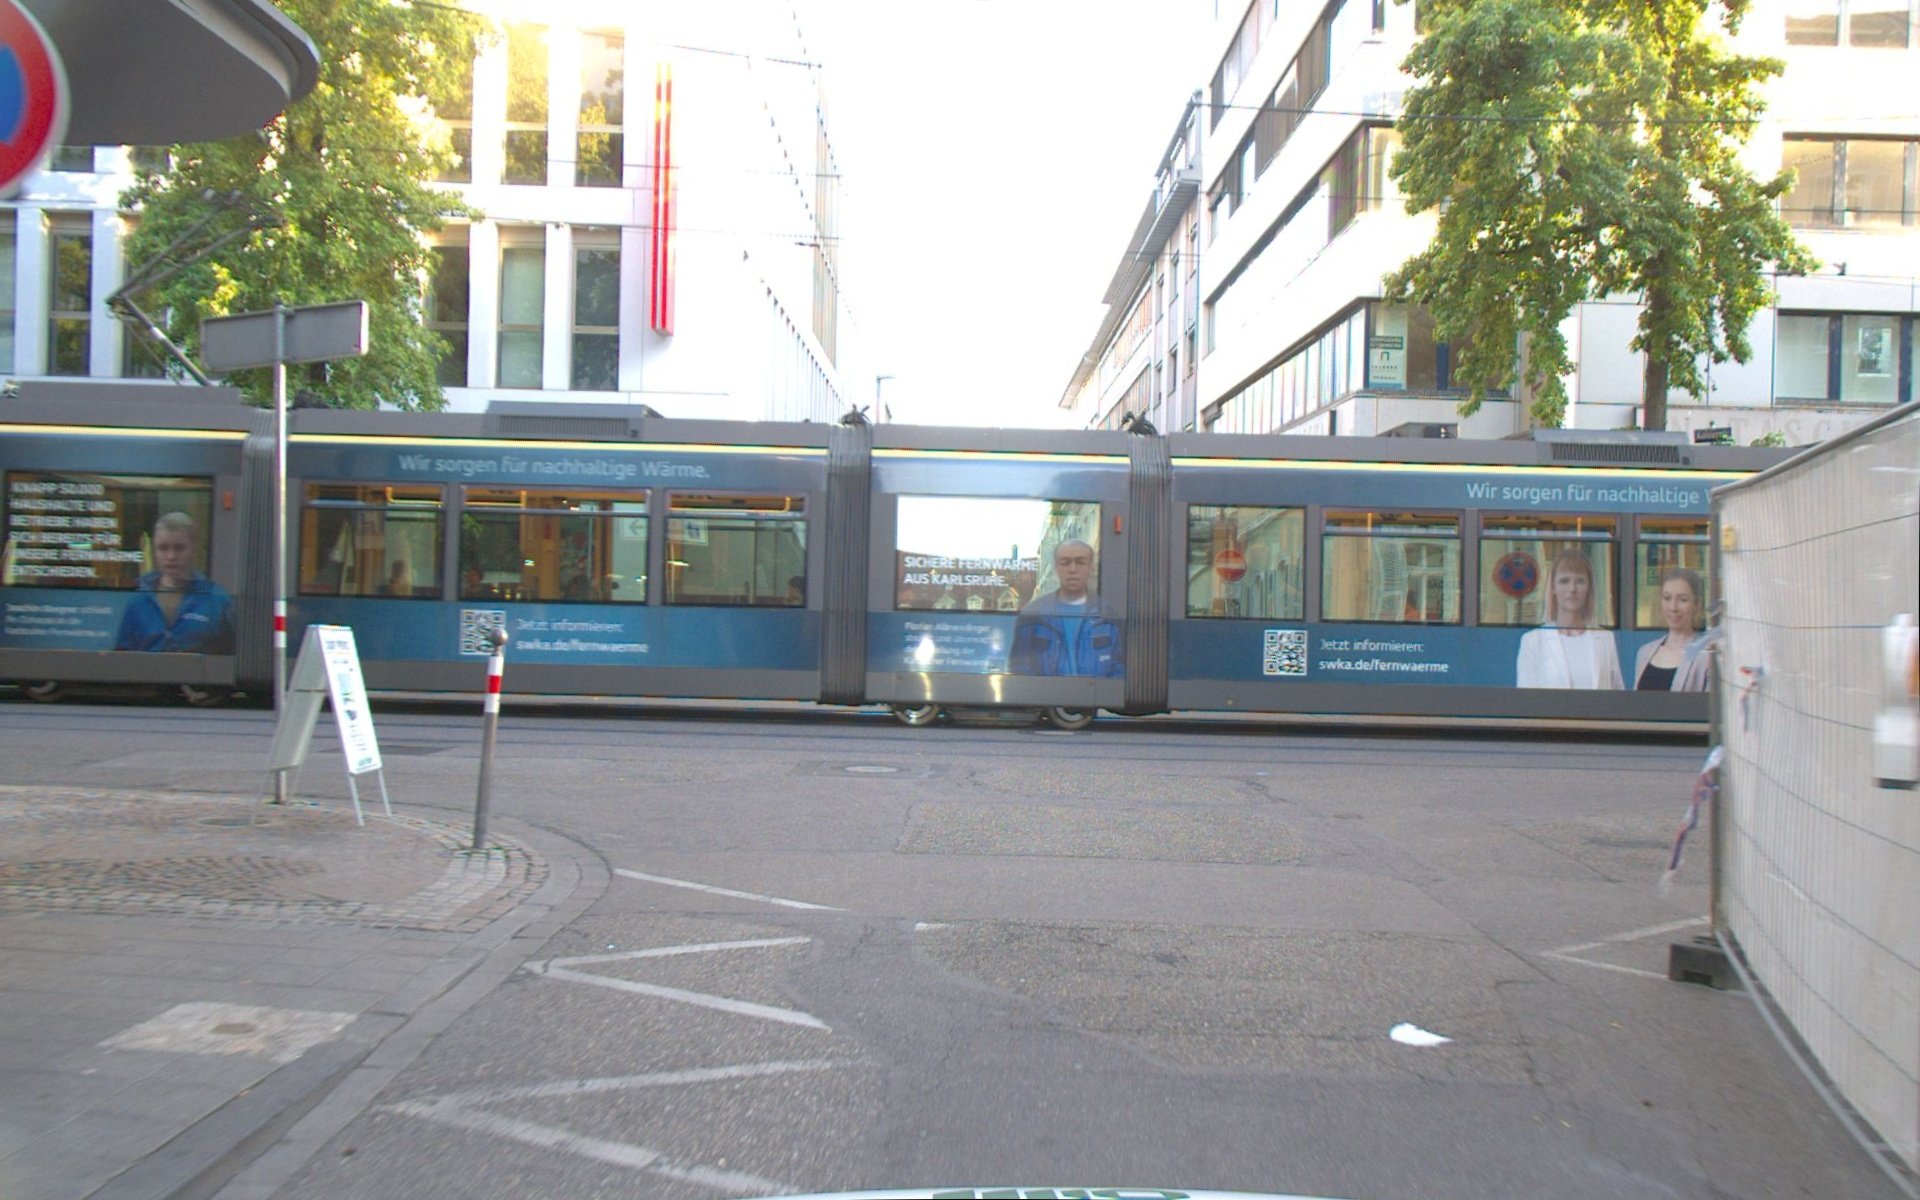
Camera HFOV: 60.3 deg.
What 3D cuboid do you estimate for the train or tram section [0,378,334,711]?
[{"bbox_3d":[-13.278,-0.650,19.427,10.590,3.585,3.012,1,0,-1],"label":"train or tram section"}]

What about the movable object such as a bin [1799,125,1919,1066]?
[{"bbox_3d":[4.343,0.011,3.098,2.582,2.923,5.563,0,1,-2],"label":"movable object such as a bin"}]

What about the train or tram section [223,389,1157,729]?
[{"bbox_3d":[-2.931,-0.435,19.586,10.155,3.585,3.017,1,-1,0],"label":"train or tram section"}]

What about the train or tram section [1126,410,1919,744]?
[{"bbox_3d":[7.195,-0.237,19.671,10.125,3.585,3.026,1,0,0],"label":"train or tram section"}]
